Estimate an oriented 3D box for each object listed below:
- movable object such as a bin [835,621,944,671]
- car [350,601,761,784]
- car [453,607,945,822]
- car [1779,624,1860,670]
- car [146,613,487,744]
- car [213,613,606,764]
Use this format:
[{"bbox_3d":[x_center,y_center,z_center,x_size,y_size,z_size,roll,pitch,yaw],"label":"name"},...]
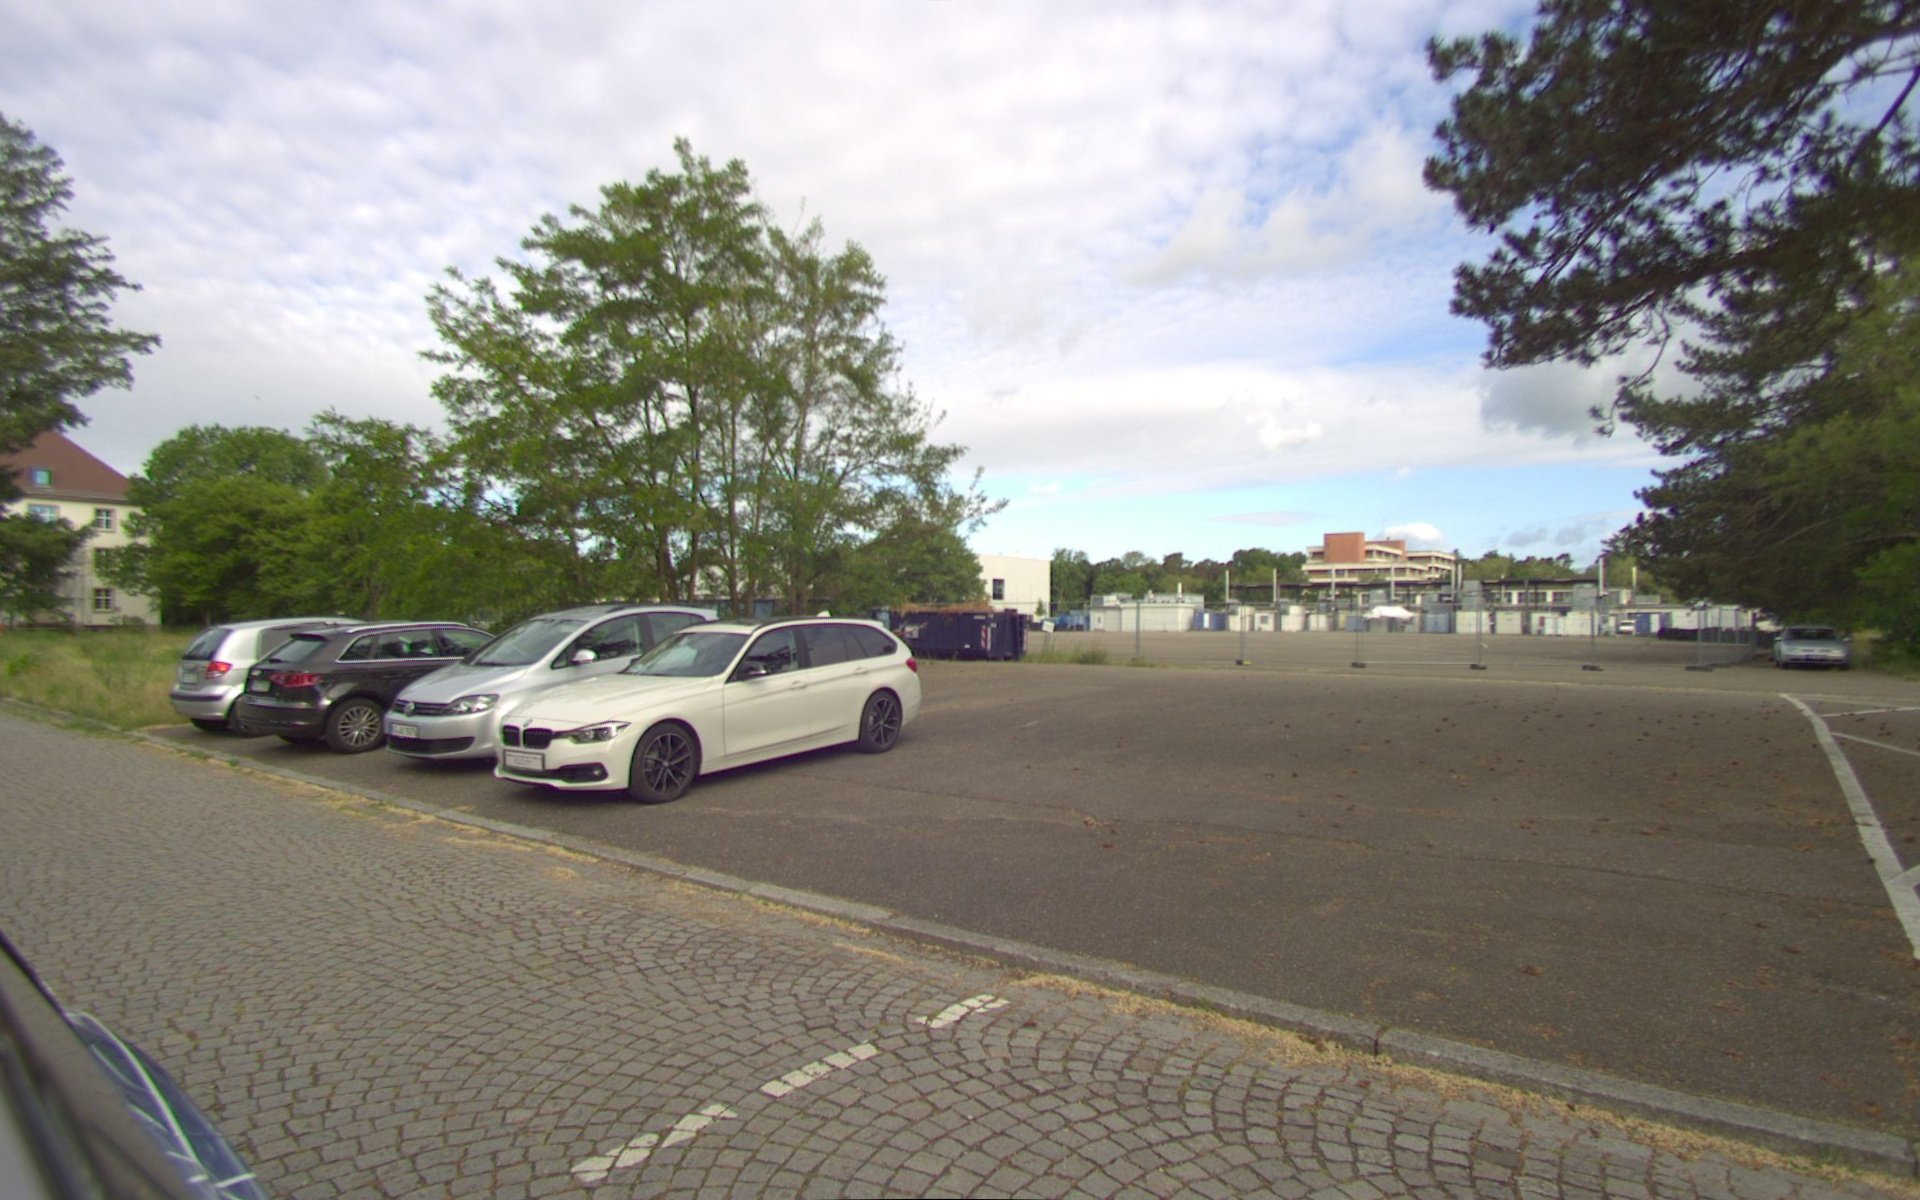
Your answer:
[{"bbox_3d":[-1.755,1.126,25.384,1.500,1.170,2.365,-1,-2,43],"label":"movable object such as a bin"},{"bbox_3d":[-4.256,0.844,11.241,1.719,1.559,3.955,-1,1,33],"label":"car"},{"bbox_3d":[-2.202,0.866,9.872,1.797,1.454,4.609,-1,1,34],"label":"car"},{"bbox_3d":[27.897,1.481,32.949,1.694,1.403,3.951,-1,-2,36],"label":"car"},{"bbox_3d":[-8.922,0.982,14.307,1.803,1.463,3.648,-1,1,33],"label":"car"},{"bbox_3d":[-6.700,0.955,12.691,1.748,1.438,3.950,-1,1,37],"label":"car"}]
